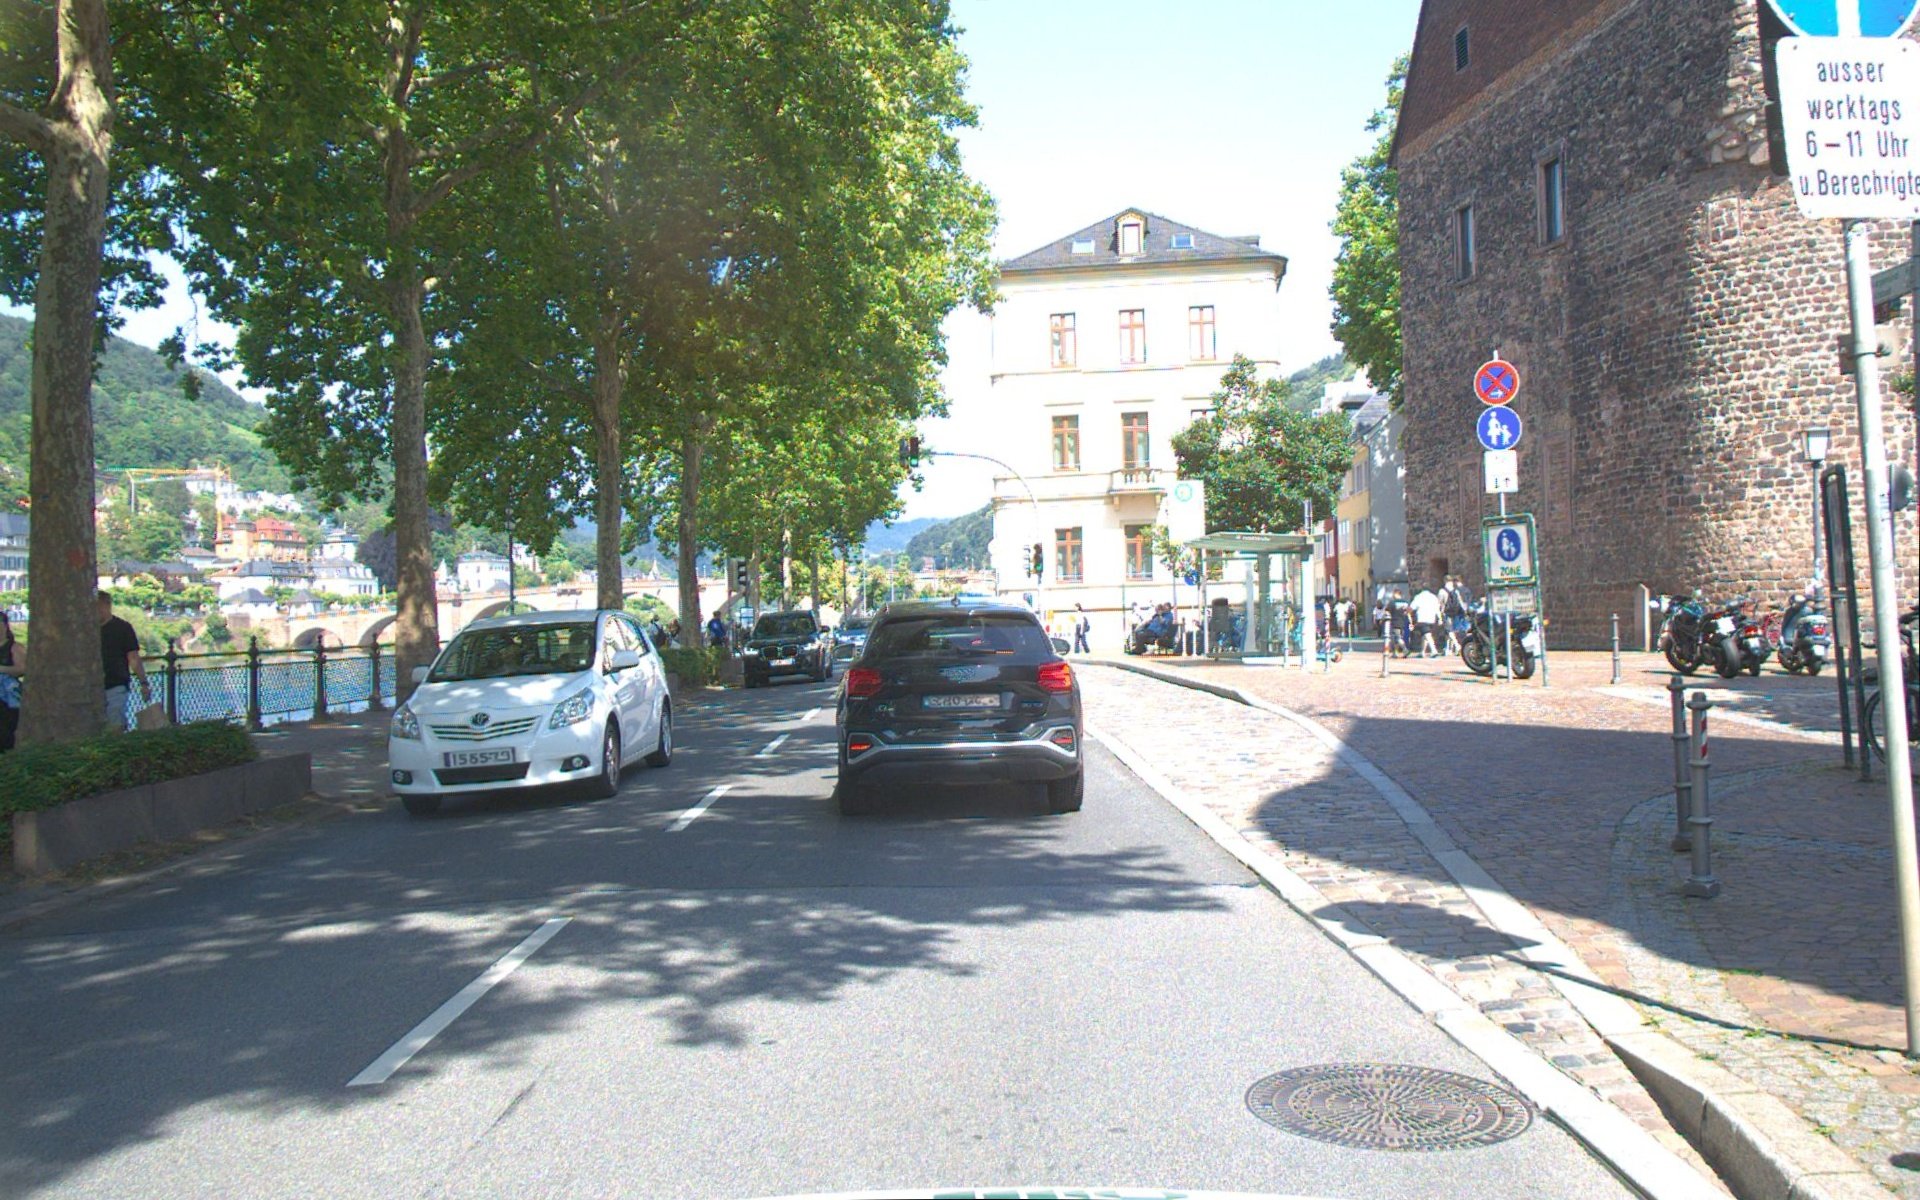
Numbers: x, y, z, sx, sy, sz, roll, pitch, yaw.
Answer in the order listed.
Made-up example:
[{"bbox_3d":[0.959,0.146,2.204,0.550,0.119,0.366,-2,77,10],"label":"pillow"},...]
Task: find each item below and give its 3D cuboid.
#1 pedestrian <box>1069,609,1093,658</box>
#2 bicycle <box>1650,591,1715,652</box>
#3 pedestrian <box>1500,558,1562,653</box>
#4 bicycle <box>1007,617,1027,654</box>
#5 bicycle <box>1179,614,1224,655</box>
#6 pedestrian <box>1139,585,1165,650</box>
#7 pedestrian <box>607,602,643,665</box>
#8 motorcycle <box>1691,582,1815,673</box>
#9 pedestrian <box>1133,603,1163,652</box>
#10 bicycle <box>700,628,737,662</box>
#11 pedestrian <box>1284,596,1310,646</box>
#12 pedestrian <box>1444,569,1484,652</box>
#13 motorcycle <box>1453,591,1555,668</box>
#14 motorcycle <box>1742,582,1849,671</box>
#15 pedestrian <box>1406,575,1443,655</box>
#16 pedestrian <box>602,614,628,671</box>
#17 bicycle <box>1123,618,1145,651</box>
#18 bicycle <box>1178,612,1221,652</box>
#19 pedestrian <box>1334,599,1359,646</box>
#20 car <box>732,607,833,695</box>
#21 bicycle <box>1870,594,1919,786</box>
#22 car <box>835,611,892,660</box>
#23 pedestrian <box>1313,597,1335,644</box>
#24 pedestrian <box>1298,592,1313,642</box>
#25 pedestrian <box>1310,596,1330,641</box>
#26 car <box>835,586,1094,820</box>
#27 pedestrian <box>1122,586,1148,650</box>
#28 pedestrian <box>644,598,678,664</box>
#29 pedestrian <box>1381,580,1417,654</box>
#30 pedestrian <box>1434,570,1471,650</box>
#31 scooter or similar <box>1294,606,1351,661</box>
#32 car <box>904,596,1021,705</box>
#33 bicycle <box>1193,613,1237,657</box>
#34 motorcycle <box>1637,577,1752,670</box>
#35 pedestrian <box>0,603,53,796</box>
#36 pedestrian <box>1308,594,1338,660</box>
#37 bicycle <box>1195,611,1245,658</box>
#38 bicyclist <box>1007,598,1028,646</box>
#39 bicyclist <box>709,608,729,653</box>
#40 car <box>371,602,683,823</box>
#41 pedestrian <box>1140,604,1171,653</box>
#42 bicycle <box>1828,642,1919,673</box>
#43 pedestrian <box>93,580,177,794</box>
[{"bbox_3d":[3.804,1.056,51.880,0.679,1.527,0.513,0,-1,-5],"label":"pedestrian"},{"bbox_3d":[14.958,0.455,34.282,0.381,1.231,1.715,1,-1,-9],"label":"bicycle"},{"bbox_3d":[12.164,0.121,35.242,0.821,1.983,0.903,-1,-1,-39],"label":"pedestrian"},{"bbox_3d":[1.778,1.104,51.458,0.428,1.105,1.675,0,-1,-5],"label":"bicycle"},{"bbox_3d":[6.195,0.890,42.400,1.184,1.053,0.178,1,-2,-20],"label":"bicycle"},{"bbox_3d":[6.106,0.562,52.673,0.626,2.049,0.664,0,-2,29],"label":"pedestrian"},{"bbox_3d":[-9.974,0.997,49.249,0.891,1.843,0.586,0,-2,3],"label":"pedestrian"},{"bbox_3d":[11.514,0.411,24.101,0.661,1.257,2.312,0,-1,-1],"label":"motorcycle"},{"bbox_3d":[4.847,0.717,42.614,0.651,1.253,0.640,1,-1,-7],"label":"pedestrian"},{"bbox_3d":[-7.208,1.344,49.380,1.072,1.024,0.303,0,-2,-8],"label":"bicycle"},{"bbox_3d":[13.834,0.878,67.934,0.925,2.049,0.807,0,-1,-1],"label":"pedestrian"},{"bbox_3d":[12.650,0.272,41.514,0.715,2.049,0.878,0,-1,-1],"label":"pedestrian"},{"bbox_3d":[7.793,0.408,23.803,0.555,1.030,2.489,-2,0,-2],"label":"motorcycle"},{"bbox_3d":[12.384,0.400,24.571,0.535,1.257,2.030,0,-1,-1],"label":"motorcycle"},{"bbox_3d":[11.286,0.363,40.228,0.655,1.917,0.820,0,-1,-2],"label":"pedestrian"},{"bbox_3d":[-10.071,1.248,48.279,0.611,1.647,0.586,0,-1,3],"label":"pedestrian"},{"bbox_3d":[5.177,1.025,49.294,0.293,0.980,1.184,1,-1,-13],"label":"bicycle"},{"bbox_3d":[6.243,0.849,43.133,1.166,1.033,0.178,1,-2,-20],"label":"bicycle"},{"bbox_3d":[16.995,0.985,72.787,0.921,2.049,0.807,0,-1,-1],"label":"pedestrian"},{"bbox_3d":[-4.110,1.154,38.998,1.777,1.754,4.420,-7,0,-1],"label":"car"},{"bbox_3d":[6.225,0.580,10.522,0.189,1.225,1.771,-1,0,10],"label":"bicycle"},{"bbox_3d":[-3.780,1.404,65.385,1.952,1.838,4.000,0,-1,1],"label":"car"},{"bbox_3d":[16.032,0.905,72.839,0.822,2.049,0.738,0,-1,-1],"label":"pedestrian"},{"bbox_3d":[11.925,0.580,57.036,0.440,1.710,0.466,0,-1,2],"label":"pedestrian"},{"bbox_3d":[12.416,0.648,57.024,0.609,1.559,0.466,0,-1,2],"label":"pedestrian"},{"bbox_3d":[0.005,0.692,12.850,1.707,1.535,3.646,-1,0,-1],"label":"car"},{"bbox_3d":[5.637,0.589,53.341,0.626,2.049,0.664,0,-2,29],"label":"pedestrian"},{"bbox_3d":[-9.294,0.957,51.417,0.891,2.049,0.586,0,-1,3],"label":"pedestrian"},{"bbox_3d":[10.988,0.423,41.412,0.639,1.834,0.847,0,-1,-2],"label":"pedestrian"},{"bbox_3d":[12.101,0.254,40.665,0.655,1.954,0.820,0,-1,-2],"label":"pedestrian"},{"bbox_3d":[7.241,0.665,33.080,1.067,1.084,0.323,0,-1,-3],"label":"scooter or similar"},{"bbox_3d":[0.011,0.775,26.686,1.756,1.623,3.398,1,-1,-1],"label":"car"},{"bbox_3d":[6.421,0.887,41.660,1.140,1.089,0.178,1,-2,-20],"label":"bicycle"},{"bbox_3d":[10.649,0.346,24.064,0.642,1.288,2.199,-1,-1,-1],"label":"motorcycle"},{"bbox_3d":[-8.694,0.892,14.998,0.589,1.715,0.583,-2,-1,-2],"label":"pedestrian"},{"bbox_3d":[7.887,0.586,35.949,0.546,1.409,0.588,0,-1,2],"label":"pedestrian"},{"bbox_3d":[6.428,0.852,40.895,1.284,1.147,0.178,1,-2,-20],"label":"bicycle"},{"bbox_3d":[1.785,0.694,51.459,0.593,1.475,0.590,0,-1,-6],"label":"bicyclist"},{"bbox_3d":[-7.198,0.911,49.377,0.555,1.334,0.551,0,-1,-5],"label":"bicyclist"},{"bbox_3d":[-3.759,0.899,15.093,1.704,1.599,4.091,-5,0,-1],"label":"car"},{"bbox_3d":[4.948,0.727,41.860,0.651,1.233,0.640,1,-1,-7],"label":"pedestrian"},{"bbox_3d":[12.354,0.734,21.322,1.887,0.388,0.918,-1,-2,14],"label":"bicycle"},{"bbox_3d":[-7.500,0.781,15.043,0.523,1.920,0.436,0,-1,-1],"label":"pedestrian"}]
